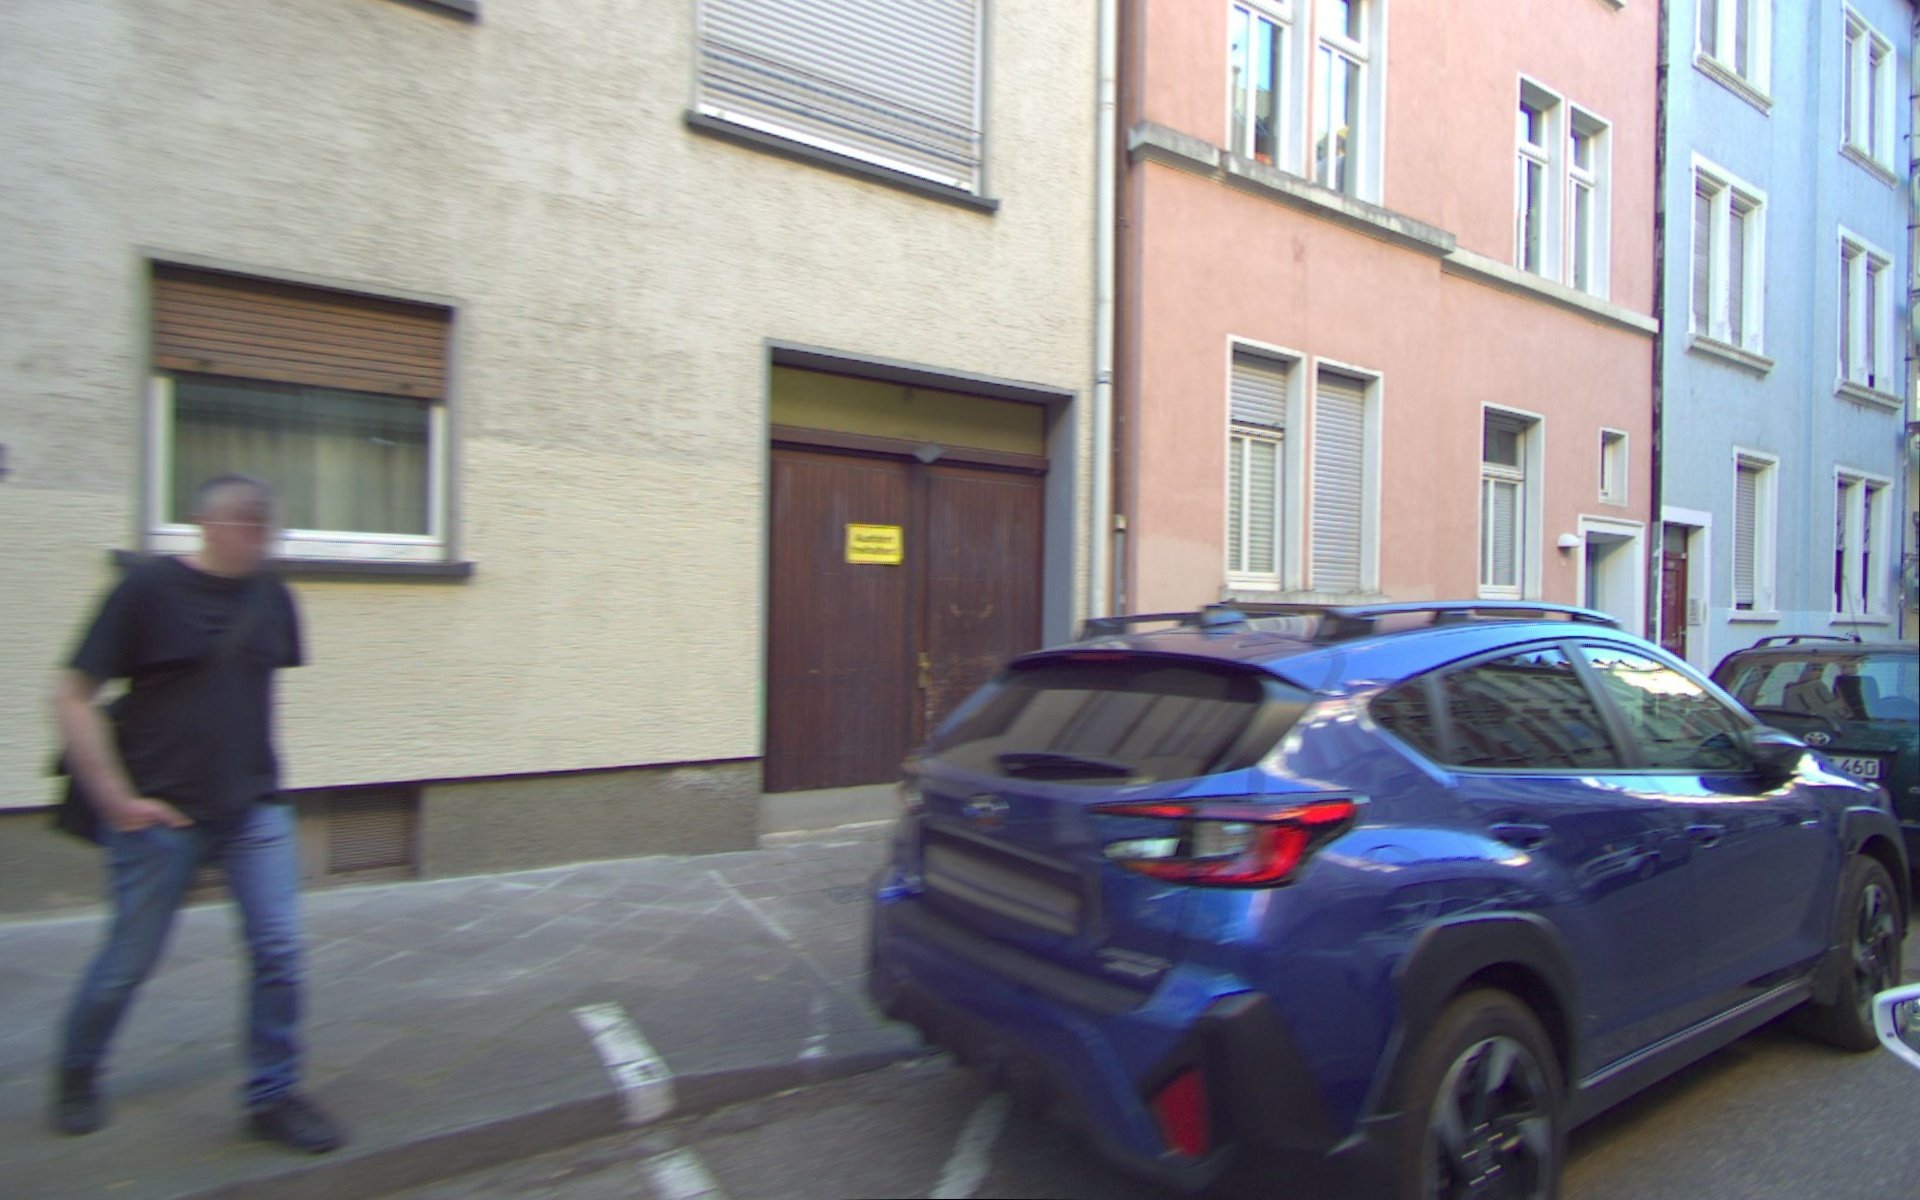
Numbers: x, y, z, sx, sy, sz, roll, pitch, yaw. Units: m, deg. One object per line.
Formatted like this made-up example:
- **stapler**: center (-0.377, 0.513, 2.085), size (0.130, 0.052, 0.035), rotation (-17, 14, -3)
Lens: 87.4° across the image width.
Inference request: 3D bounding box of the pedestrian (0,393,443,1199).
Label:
- **pedestrian**: center (-2.004, 0.478, 2.640), size (0.892, 1.864, 0.673), rotation (0, -1, 10)

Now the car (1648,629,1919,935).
- **car**: center (6.489, 0.986, 6.637), size (4.367, 1.531, 1.665), rotation (2, -1, -33)

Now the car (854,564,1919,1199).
- **car**: center (1.925, 0.795, 3.688), size (4.333, 1.560, 1.718), rotation (2, -2, -35)
